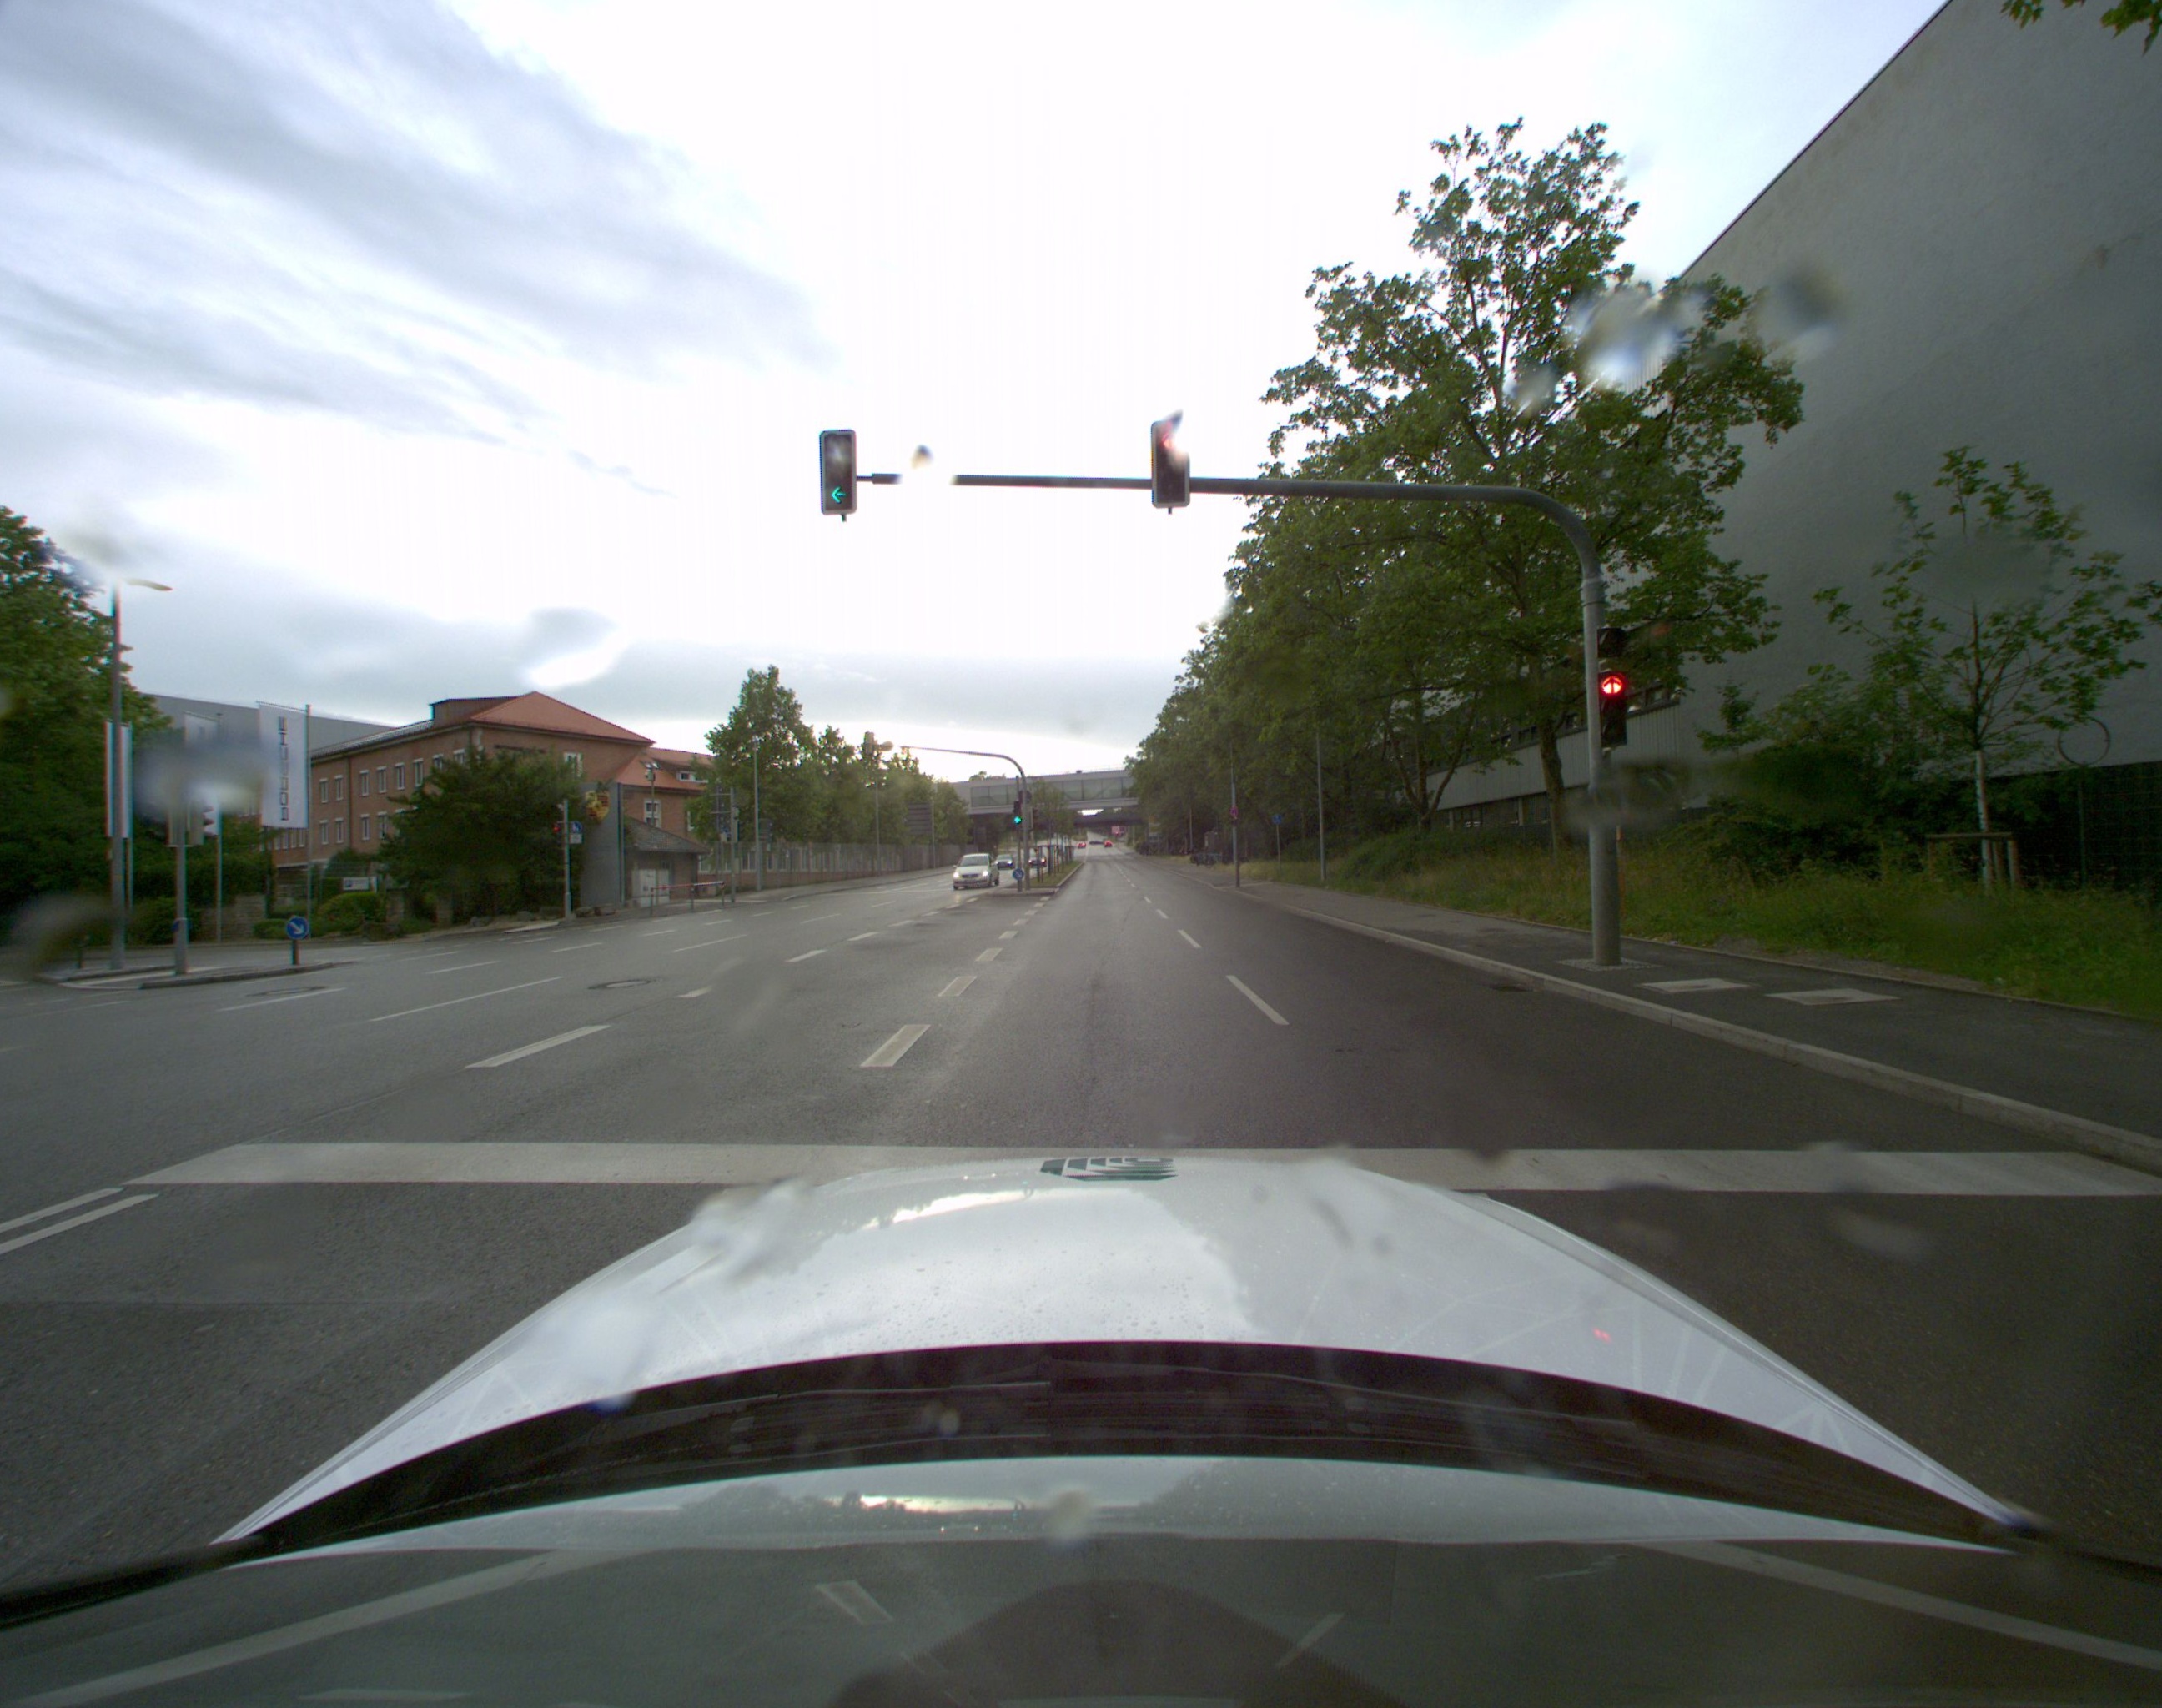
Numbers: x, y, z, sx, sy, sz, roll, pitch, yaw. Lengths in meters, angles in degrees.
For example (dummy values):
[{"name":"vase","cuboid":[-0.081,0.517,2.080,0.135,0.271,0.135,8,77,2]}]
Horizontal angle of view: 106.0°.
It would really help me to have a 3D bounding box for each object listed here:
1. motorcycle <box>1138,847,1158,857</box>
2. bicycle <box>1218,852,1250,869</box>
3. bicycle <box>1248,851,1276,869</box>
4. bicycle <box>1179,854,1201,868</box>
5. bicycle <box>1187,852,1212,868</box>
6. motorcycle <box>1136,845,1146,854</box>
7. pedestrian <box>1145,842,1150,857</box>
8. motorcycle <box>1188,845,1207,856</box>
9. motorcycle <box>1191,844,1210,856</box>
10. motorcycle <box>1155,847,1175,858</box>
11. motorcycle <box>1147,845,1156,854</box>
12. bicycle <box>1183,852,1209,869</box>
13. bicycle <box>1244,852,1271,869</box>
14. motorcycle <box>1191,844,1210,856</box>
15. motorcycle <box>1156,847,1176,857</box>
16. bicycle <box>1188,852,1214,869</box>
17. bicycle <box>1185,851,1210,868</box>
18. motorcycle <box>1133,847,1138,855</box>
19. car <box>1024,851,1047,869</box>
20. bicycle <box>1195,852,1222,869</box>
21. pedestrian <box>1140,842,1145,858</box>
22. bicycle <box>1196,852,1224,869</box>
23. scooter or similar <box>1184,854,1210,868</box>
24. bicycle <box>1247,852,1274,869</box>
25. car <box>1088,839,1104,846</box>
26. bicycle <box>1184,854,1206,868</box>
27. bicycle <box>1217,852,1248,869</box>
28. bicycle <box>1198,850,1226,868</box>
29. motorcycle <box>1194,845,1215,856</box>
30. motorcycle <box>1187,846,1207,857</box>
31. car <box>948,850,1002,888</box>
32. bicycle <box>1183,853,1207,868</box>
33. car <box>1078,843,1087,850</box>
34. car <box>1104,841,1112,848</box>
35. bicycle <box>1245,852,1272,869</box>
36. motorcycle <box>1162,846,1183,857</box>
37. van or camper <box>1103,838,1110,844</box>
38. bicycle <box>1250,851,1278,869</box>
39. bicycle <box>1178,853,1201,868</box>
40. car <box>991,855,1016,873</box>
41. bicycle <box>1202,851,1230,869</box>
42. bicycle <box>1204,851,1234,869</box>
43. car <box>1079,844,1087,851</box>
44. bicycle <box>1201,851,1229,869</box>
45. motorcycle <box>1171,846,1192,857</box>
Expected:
[{"name":"motorcycle","cuboid":[8.579,-0.287,104.081,2.354,1.202,0.724,-3,0,9]},{"name":"bicycle","cuboid":[10.087,0.430,53.777,1.982,1.095,0.541,0,-1,2]},{"name":"bicycle","cuboid":[13.726,0.480,61.779,1.982,1.328,0.576,0,-1,2]},{"name":"bicycle","cuboid":[9.944,0.639,74.306,1.955,1.328,0.654,0,-1,2]},{"name":"bicycle","cuboid":[9.952,0.544,68.345,1.982,1.328,0.576,0,-1,2]},{"name":"motorcycle","cuboid":[9.253,-0.714,125.371,0.792,1.311,2.363,-3,0,-16]},{"name":"pedestrian","cuboid":[8.831,-0.603,108.185,0.619,2.013,0.606,-3,0,2]},{"name":"motorcycle","cuboid":[14.440,-0.451,100.965,2.354,1.202,0.724,-3,0,9]},{"name":"motorcycle","cuboid":[15.715,-0.502,106.876,2.354,1.476,0.724,-3,0,9]},{"name":"motorcycle","cuboid":[10.315,-0.147,99.724,2.354,1.202,0.724,-3,0,9]},{"name":"motorcycle","cuboid":[10.541,-0.708,121.655,0.789,1.311,2.371,-3,0,-7]},{"name":"bicycle","cuboid":[9.299,0.511,65.828,1.982,1.328,0.576,0,-1,2]},{"name":"bicycle","cuboid":[13.816,0.512,63.760,1.982,1.328,0.576,0,-1,2]},{"name":"motorcycle","cuboid":[15.860,-0.526,108.109,2.354,1.476,0.724,-3,0,9]},{"name":"motorcycle","cuboid":[10.602,-0.271,101.491,2.354,1.202,0.724,-3,0,9]},{"name":"bicycle","cuboid":[9.595,0.500,65.011,1.982,1.328,0.576,0,-1,2]},{"name":"bicycle","cuboid":[9.624,0.477,67.499,1.982,1.430,0.723,0,-1,2]},{"name":"motorcycle","cuboid":[9.683,-0.521,144.655,0.787,1.533,2.376,-3,0,0]},{"name":"car","cuboid":[-4.351,0.590,78.514,1.870,1.624,3.780,-2,0,2]},{"name":"bicycle","cuboid":[9.646,0.480,61.728,1.982,1.242,0.541,0,-1,2]},{"name":"pedestrian","cuboid":[8.188,-0.509,108.173,0.619,2.013,0.606,-3,0,2]},{"name":"bicycle","cuboid":[9.619,0.465,60.779,1.982,1.242,0.541,0,-1,2]},{"name":"scooter or similar","cuboid":[9.094,0.547,63.893,1.982,1.138,0.541,0,-1,2]},{"name":"bicycle","cuboid":[13.749,0.491,62.444,1.982,1.328,0.576,0,-1,2]},{"name":"car","cuboid":[4.435,-3.385,236.515,4.495,1.762,1.905,0,-1,0]},{"name":"bicycle","cuboid":[10.623,0.668,75.794,1.955,1.328,0.654,0,-1,2]},{"name":"bicycle","cuboid":[10.107,0.439,54.345,1.982,1.095,0.541,0,-1,2]},{"name":"bicycle","cuboid":[9.692,0.388,60.086,1.982,1.340,0.541,0,-1,2]},{"name":"motorcycle","cuboid":[14.974,-0.402,98.747,2.354,1.202,0.724,-3,0,9]},{"name":"motorcycle","cuboid":[14.271,-0.326,100.087,2.354,1.202,0.724,-3,0,9]},{"name":"car","cuboid":[-4.994,0.686,38.708,1.870,1.624,3.780,-2,0,2]},{"name":"bicycle","cuboid":[9.828,0.574,70.297,1.953,1.328,0.576,0,-1,2]},{"name":"car","cuboid":[0.383,-1.877,207.064,1.986,1.762,4.002,0,-1,2]},{"name":"car","cuboid":[6.776,-2.354,203.163,1.868,1.497,4.070,0,-1,2]},{"name":"bicycle","cuboid":[13.785,0.502,63.121,1.982,1.328,0.576,0,-1,2]},{"name":"motorcycle","cuboid":[10.690,-0.286,95.052,2.354,1.202,0.724,-3,0,9]},{"name":"van or camper","cuboid":[8.107,-4.119,258.687,1.787,1.813,3.775,0,1,8]},{"name":"bicycle","cuboid":[13.720,0.468,61.015,1.982,1.328,0.576,0,-1,2]},{"name":"bicycle","cuboid":[9.698,0.610,72.593,1.955,1.328,0.654,0,-1,2]},{"name":"car","cuboid":[-7.402,0.958,77.855,1.870,1.624,3.780,-2,0,2]},{"name":"bicycle","cuboid":[9.611,0.425,58.008,1.982,1.233,0.541,0,-1,2]},{"name":"bicycle","cuboid":[9.474,0.397,55.821,1.982,1.216,0.541,0,-1,2]},{"name":"car","cuboid":[0.587,-1.761,212.305,1.877,1.762,3.970,0,-1,2]},{"name":"bicycle","cuboid":[9.647,0.431,58.680,1.982,1.242,0.541,0,-1,2]},{"name":"motorcycle","cuboid":[11.979,-0.293,96.716,2.354,1.202,0.724,-3,0,9]}]
